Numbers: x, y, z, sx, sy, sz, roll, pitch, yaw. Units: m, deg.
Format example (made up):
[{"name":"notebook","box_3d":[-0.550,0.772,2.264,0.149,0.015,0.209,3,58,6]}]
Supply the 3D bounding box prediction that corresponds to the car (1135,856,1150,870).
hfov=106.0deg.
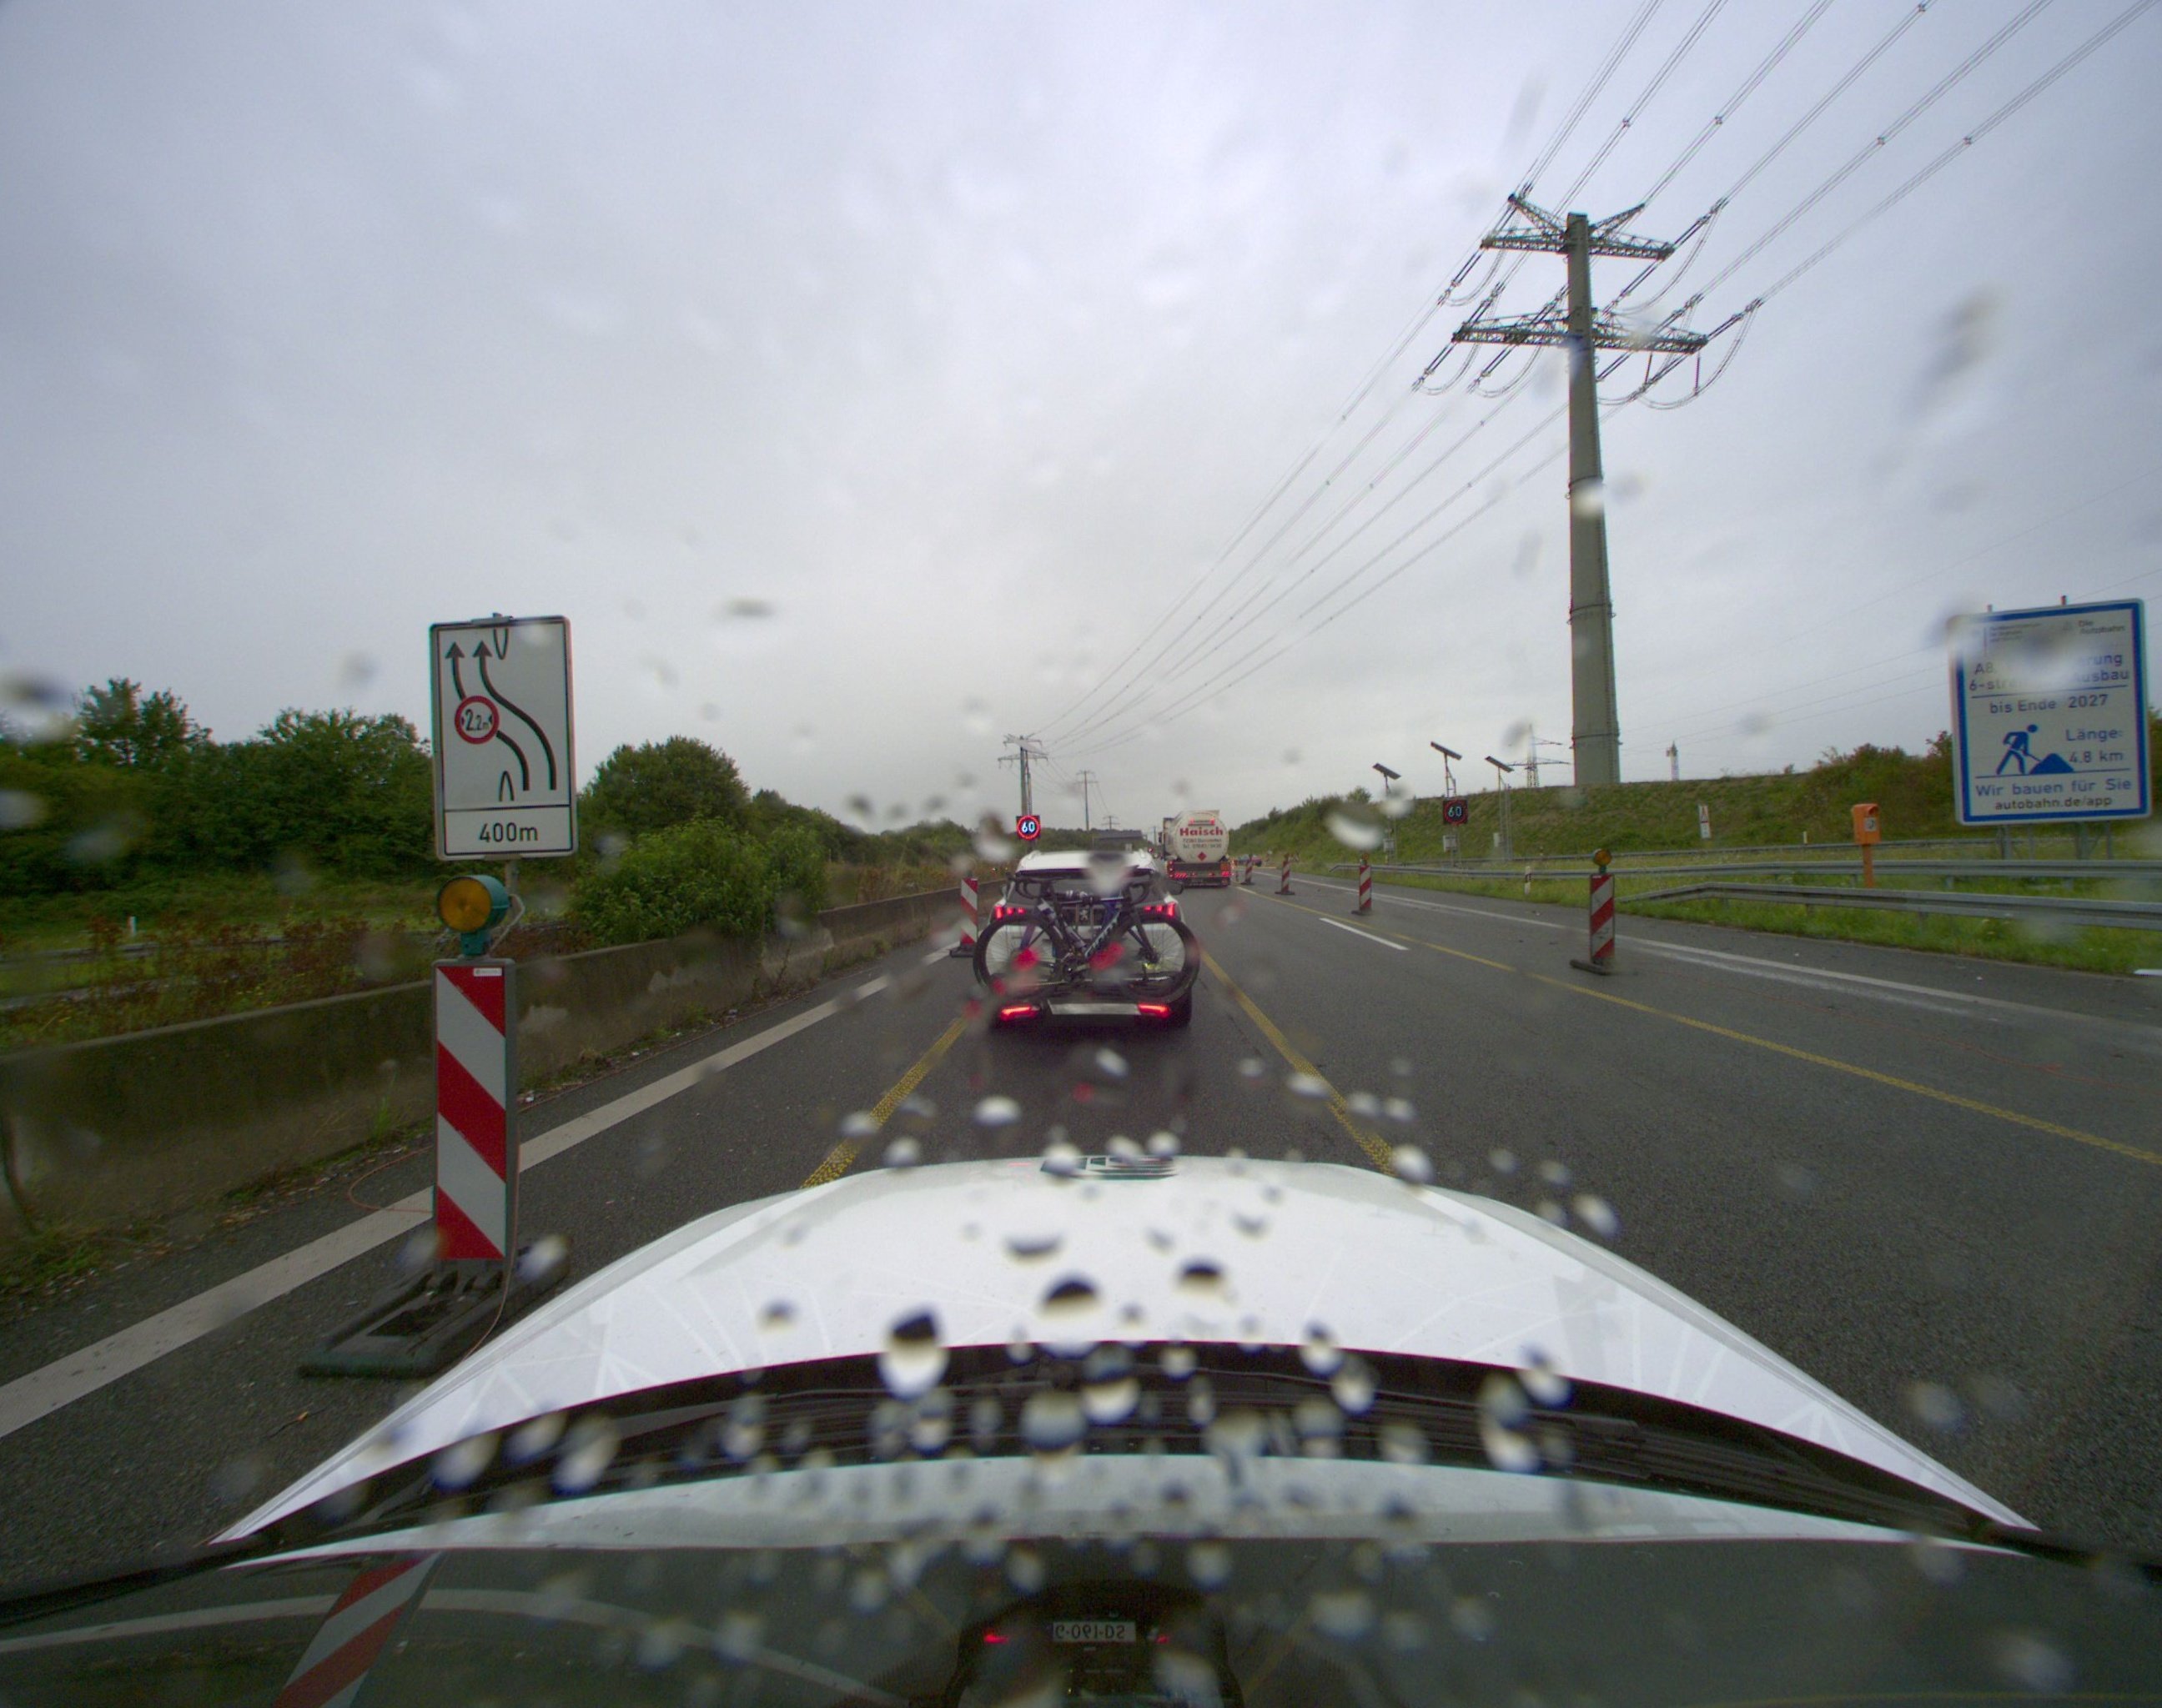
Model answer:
[{"name":"car","box_3d":[9.169,1.316,121.219,1.986,2.014,4.001,0,-1,2]}]

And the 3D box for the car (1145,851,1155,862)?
[{"name":"car","box_3d":[12.655,0.463,149.211,1.645,2.013,4.007,-1,0,6]}]

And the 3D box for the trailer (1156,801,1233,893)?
[{"name":"trailer","box_3d":[5.293,-0.225,39.885,2.628,3.893,10.547,0,-1,2]}]

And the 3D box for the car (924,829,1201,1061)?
[{"name":"car","box_3d":[0.032,0.643,8.000,1.919,1.611,4.600,-1,0,4]}]

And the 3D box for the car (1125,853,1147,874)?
[{"name":"car","box_3d":[5.318,0.906,78.830,1.986,2.014,4.001,0,-1,2]}]

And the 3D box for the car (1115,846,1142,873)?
[{"name":"car","box_3d":[3.750,0.387,65.233,1.986,2.013,4.002,-3,0,2]}]

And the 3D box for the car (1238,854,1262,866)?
[{"name":"car","box_3d":[18.070,0.638,87.314,1.480,1.161,3.901,-3,-1,-4]}]

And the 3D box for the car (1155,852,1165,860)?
[{"name":"car","box_3d":[18.744,0.456,193.095,1.986,2.014,4.001,0,-1,2]}]

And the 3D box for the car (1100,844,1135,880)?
[{"name":"car","box_3d":[2.199,0.447,49.968,1.986,2.013,4.002,-3,0,2]}]

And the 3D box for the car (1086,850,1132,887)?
[{"name":"car","box_3d":[1.306,0.641,37.613,1.986,1.584,4.002,-1,0,2]}]

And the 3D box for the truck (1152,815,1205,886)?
[{"name":"truck","box_3d":[5.503,-0.158,46.573,2.635,3.891,4.031,0,-1,2]}]

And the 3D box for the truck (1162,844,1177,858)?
[{"name":"truck","box_3d":[25.664,-0.884,236.341,3.715,3.823,11.879,-1,-1,4]}]
